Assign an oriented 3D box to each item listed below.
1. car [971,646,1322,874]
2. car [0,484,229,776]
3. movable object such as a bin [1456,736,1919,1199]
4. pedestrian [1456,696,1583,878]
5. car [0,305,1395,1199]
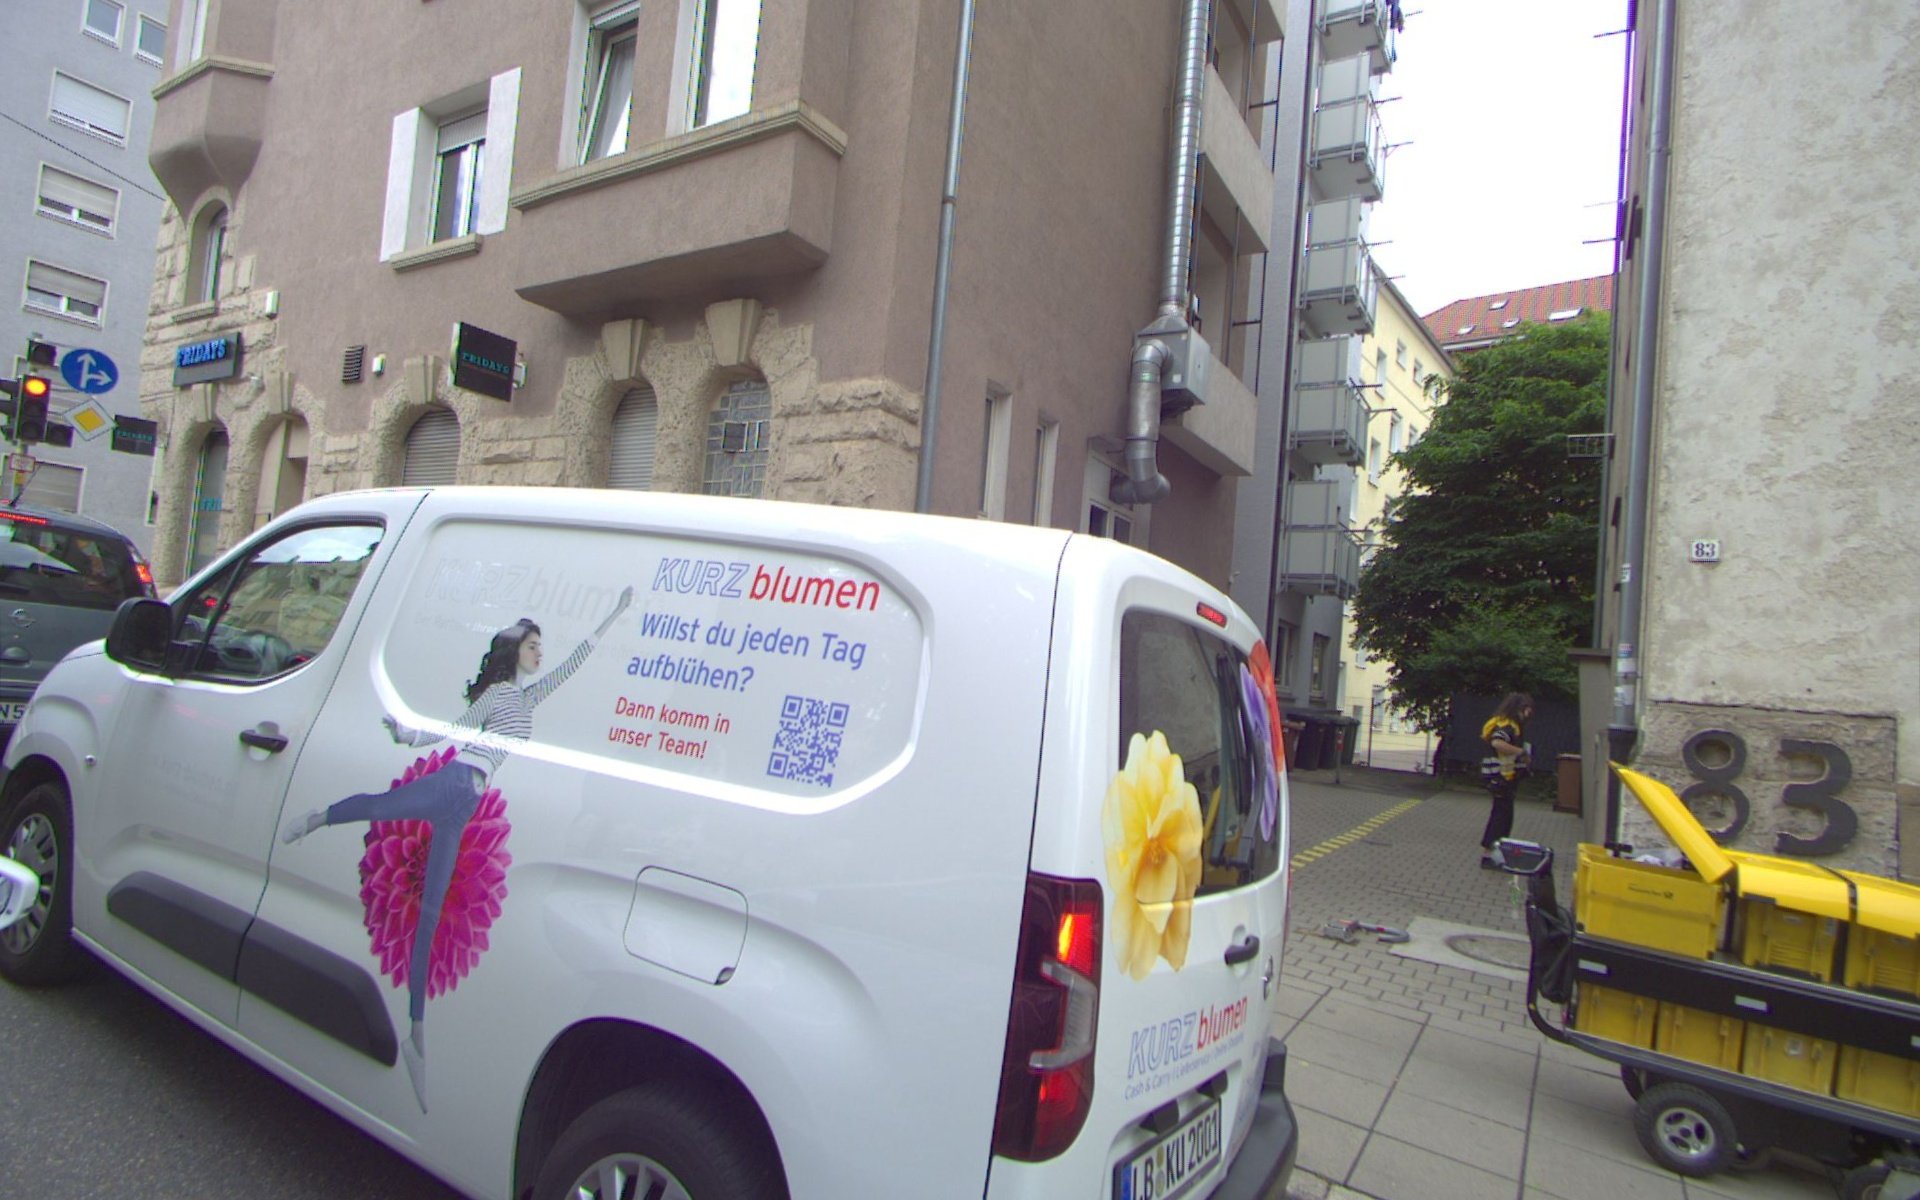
[{"bbox_3d":[1.988,1.429,9.625,1.770,1.419,3.995,9,-1,33],"label":"car"},{"bbox_3d":[-6.809,0.024,6.657,3.570,1.609,1.759,6,-5,31],"label":"car"},{"bbox_3d":[3.006,1.398,4.029,1.665,1.437,0.720,6,-1,31],"label":"movable object such as a bin"},{"bbox_3d":[5.582,1.849,10.061,0.753,1.680,0.740,5,-3,-24],"label":"pedestrian"},{"bbox_3d":[-1.458,0.536,3.374,4.945,1.845,1.852,5,-4,37],"label":"car"}]
